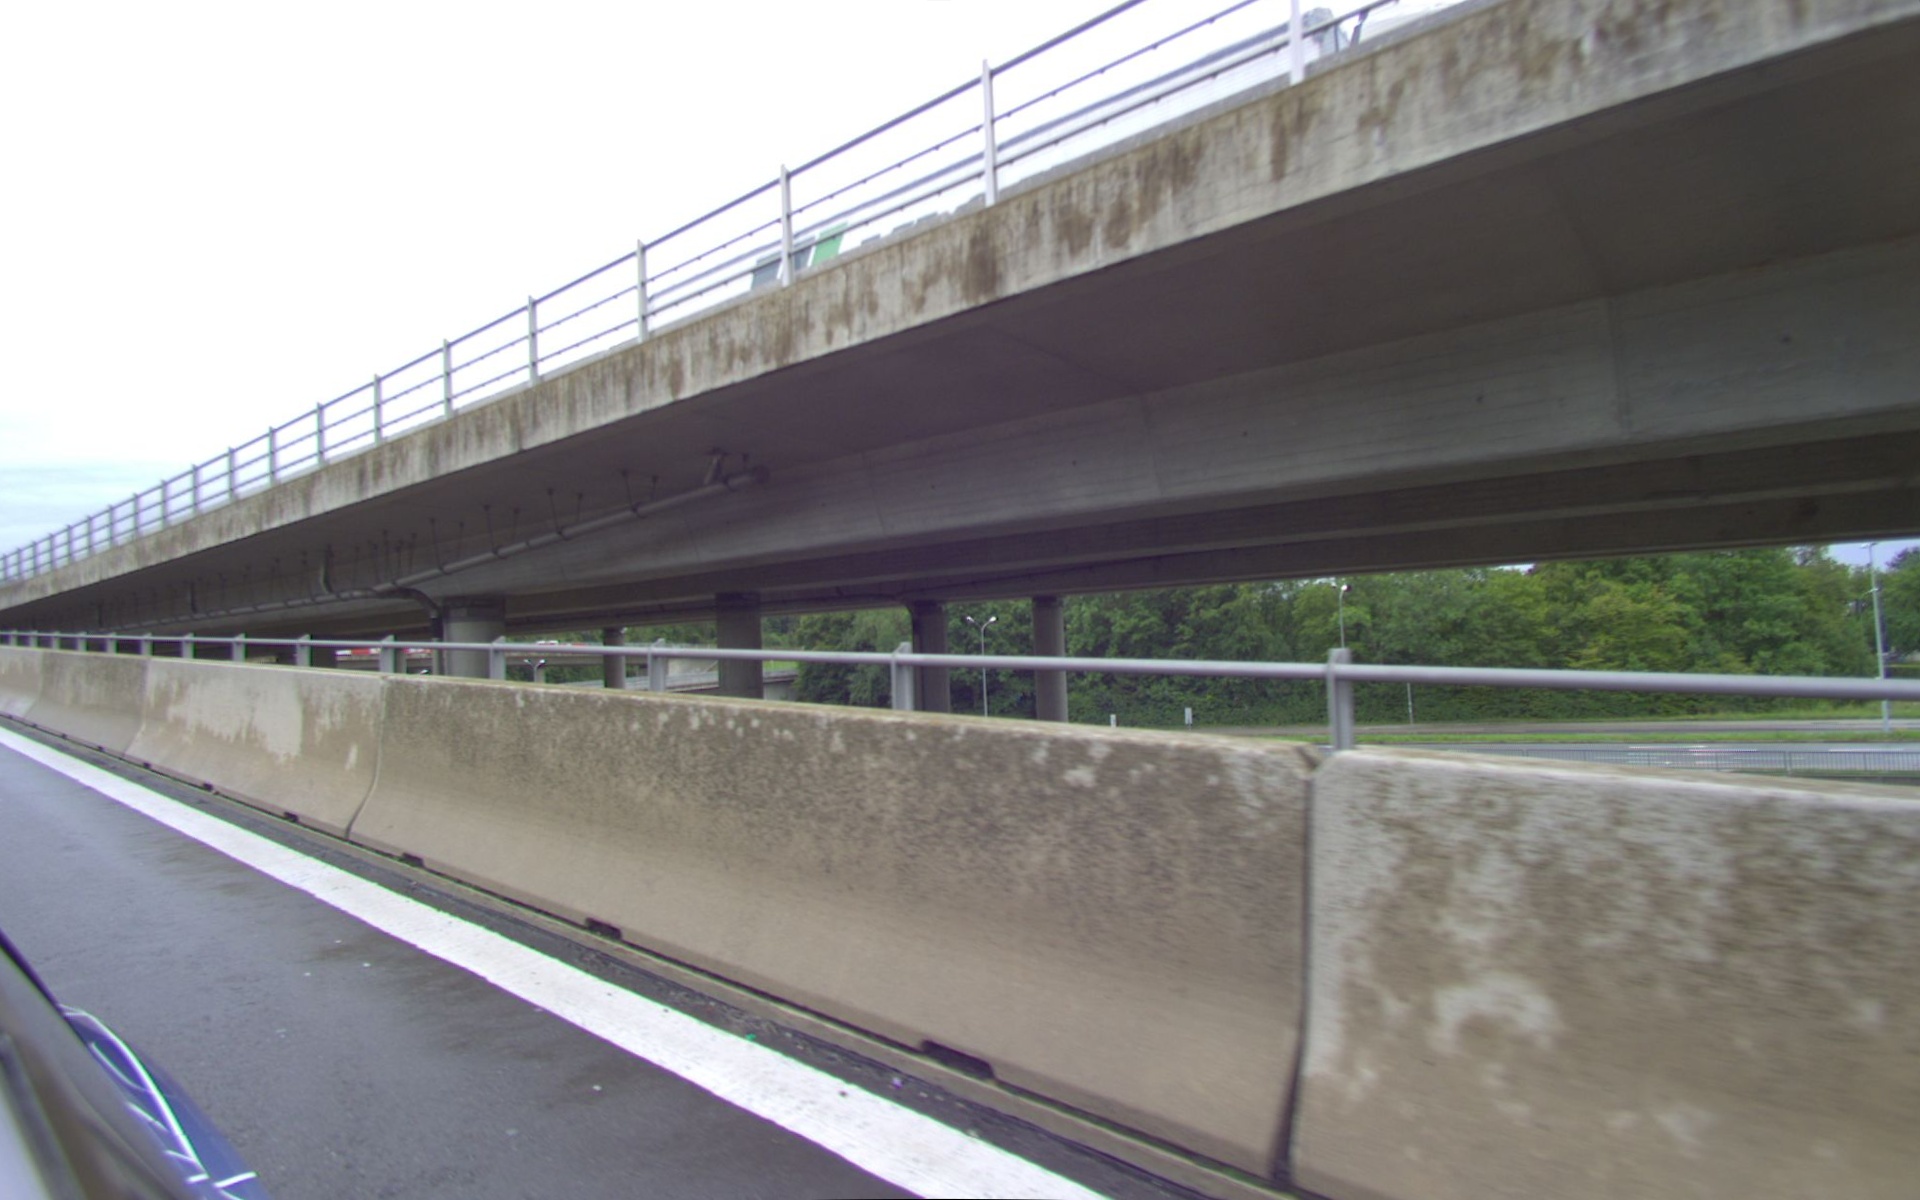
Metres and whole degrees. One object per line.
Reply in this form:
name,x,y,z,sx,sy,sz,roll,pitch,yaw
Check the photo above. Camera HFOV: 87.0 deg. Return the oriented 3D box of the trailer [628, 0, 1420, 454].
trailer,-0.278,-5.139,16.707,14.044,3.323,2.631,-3,-1,39
